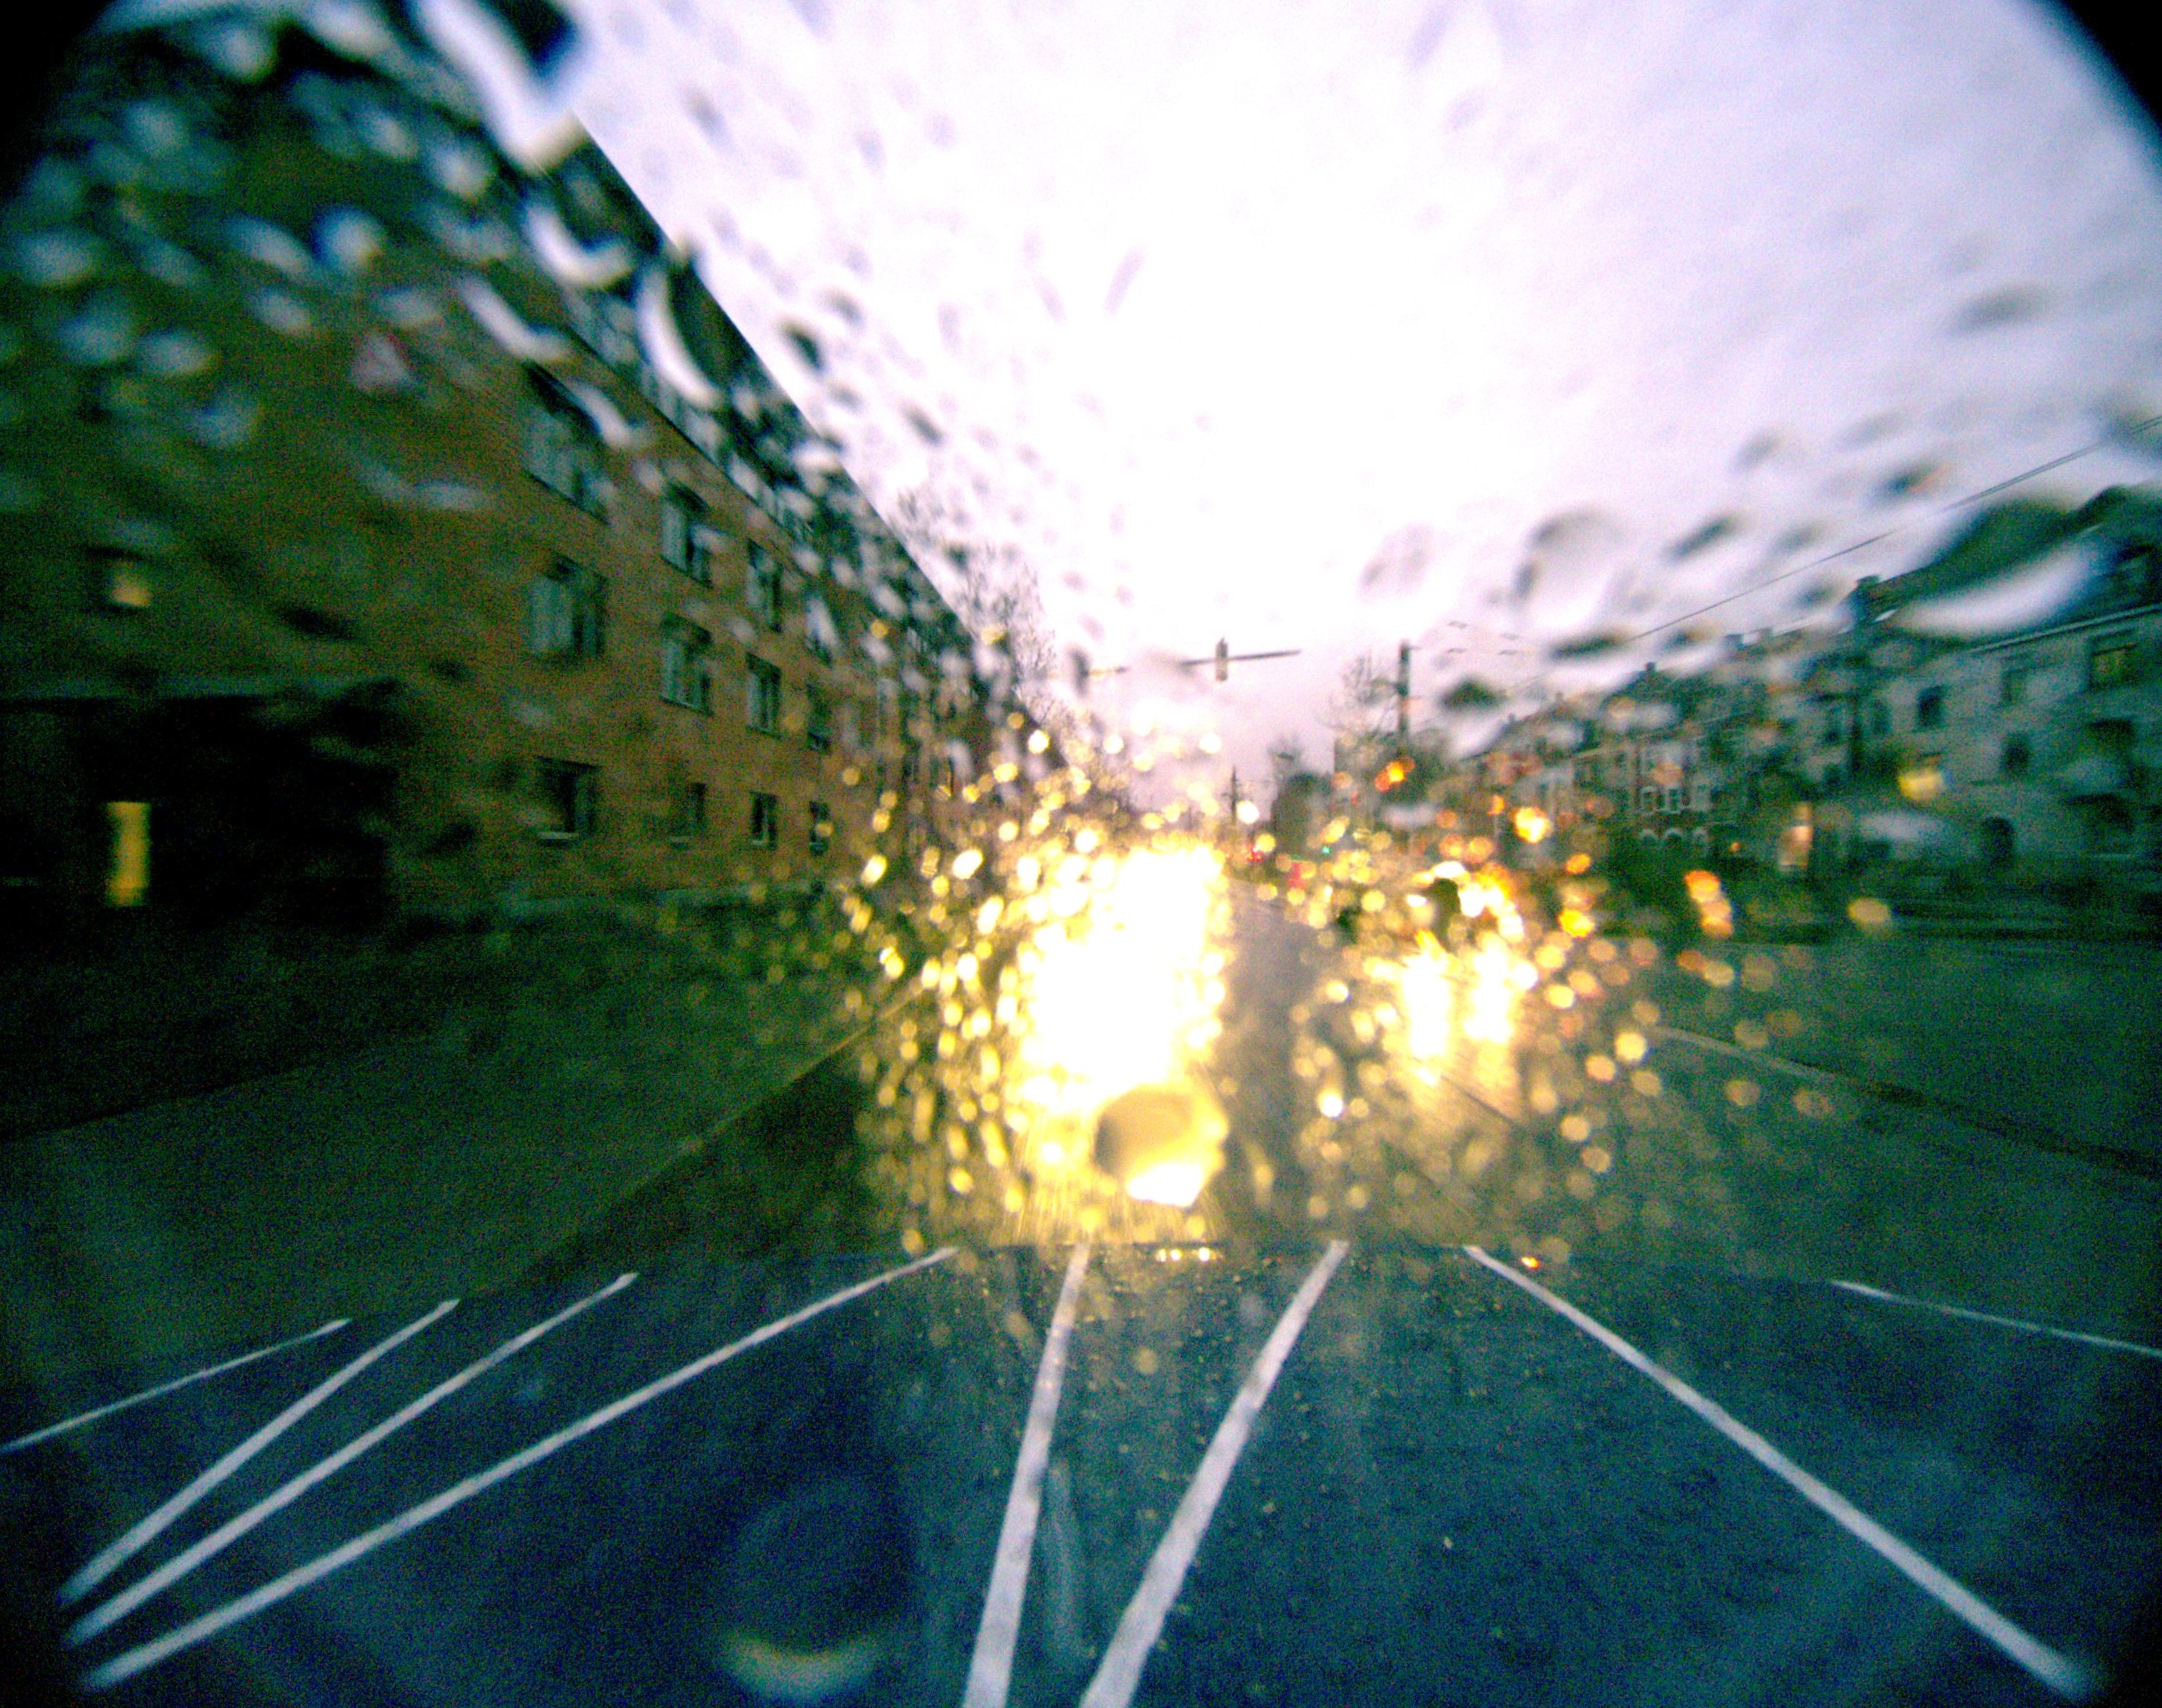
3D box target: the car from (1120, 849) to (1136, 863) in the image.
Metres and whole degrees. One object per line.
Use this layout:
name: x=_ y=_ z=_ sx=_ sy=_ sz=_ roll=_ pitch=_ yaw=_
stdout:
car: x=5.949 y=0.285 z=96.414 sx=1.998 sy=1.745 sz=4.001 roll=1 pitch=0 yaw=4

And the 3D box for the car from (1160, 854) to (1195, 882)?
car: x=5.409 y=0.759 z=43.070 sx=1.813 sy=1.488 sz=4.055 roll=-1 pitch=0 yaw=5

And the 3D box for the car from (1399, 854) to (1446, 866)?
car: x=35.461 y=0.628 z=78.844 sx=3.988 sy=1.162 sz=2.004 roll=1 pitch=1 yaw=43

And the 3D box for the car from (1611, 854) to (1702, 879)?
car: x=33.224 y=0.704 z=43.923 sx=3.988 sy=1.324 sz=2.004 roll=1 pitch=1 yaw=42

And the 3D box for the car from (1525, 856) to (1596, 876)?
car: x=33.913 y=0.827 z=53.770 sx=3.988 sy=1.324 sz=2.004 roll=1 pitch=1 yaw=42

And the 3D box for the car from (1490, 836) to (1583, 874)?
car: x=35.332 y=0.048 z=59.130 sx=2.004 sy=2.781 sz=5.850 roll=0 pitch=1 yaw=-44

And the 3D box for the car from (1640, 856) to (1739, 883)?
car: x=32.375 y=0.767 z=40.455 sx=3.988 sy=1.324 sz=2.004 roll=1 pitch=1 yaw=42

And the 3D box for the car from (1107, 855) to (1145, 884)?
car: x=2.362 y=0.768 z=39.188 sx=1.813 sy=1.384 sz=4.055 roll=-1 pitch=0 yaw=5

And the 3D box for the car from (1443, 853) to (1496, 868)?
car: x=35.794 y=0.591 z=70.042 sx=3.988 sy=1.324 sz=2.004 roll=1 pitch=1 yaw=39

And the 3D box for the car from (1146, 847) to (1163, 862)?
car: x=9.033 y=0.092 z=93.493 sx=1.998 sy=1.745 sz=4.001 roll=1 pitch=0 yaw=4

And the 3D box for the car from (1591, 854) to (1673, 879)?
car: x=34.030 y=0.747 z=46.966 sx=3.988 sy=1.477 sz=2.004 roll=1 pitch=1 yaw=39

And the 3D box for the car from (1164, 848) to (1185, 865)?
car: x=9.980 y=0.246 z=81.340 sx=1.998 sy=1.745 sz=4.001 roll=1 pitch=0 yaw=4

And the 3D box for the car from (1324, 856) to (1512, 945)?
car: x=6.473 y=0.805 z=15.290 sx=1.813 sy=1.421 sz=4.826 roll=-1 pitch=0 yaw=2
